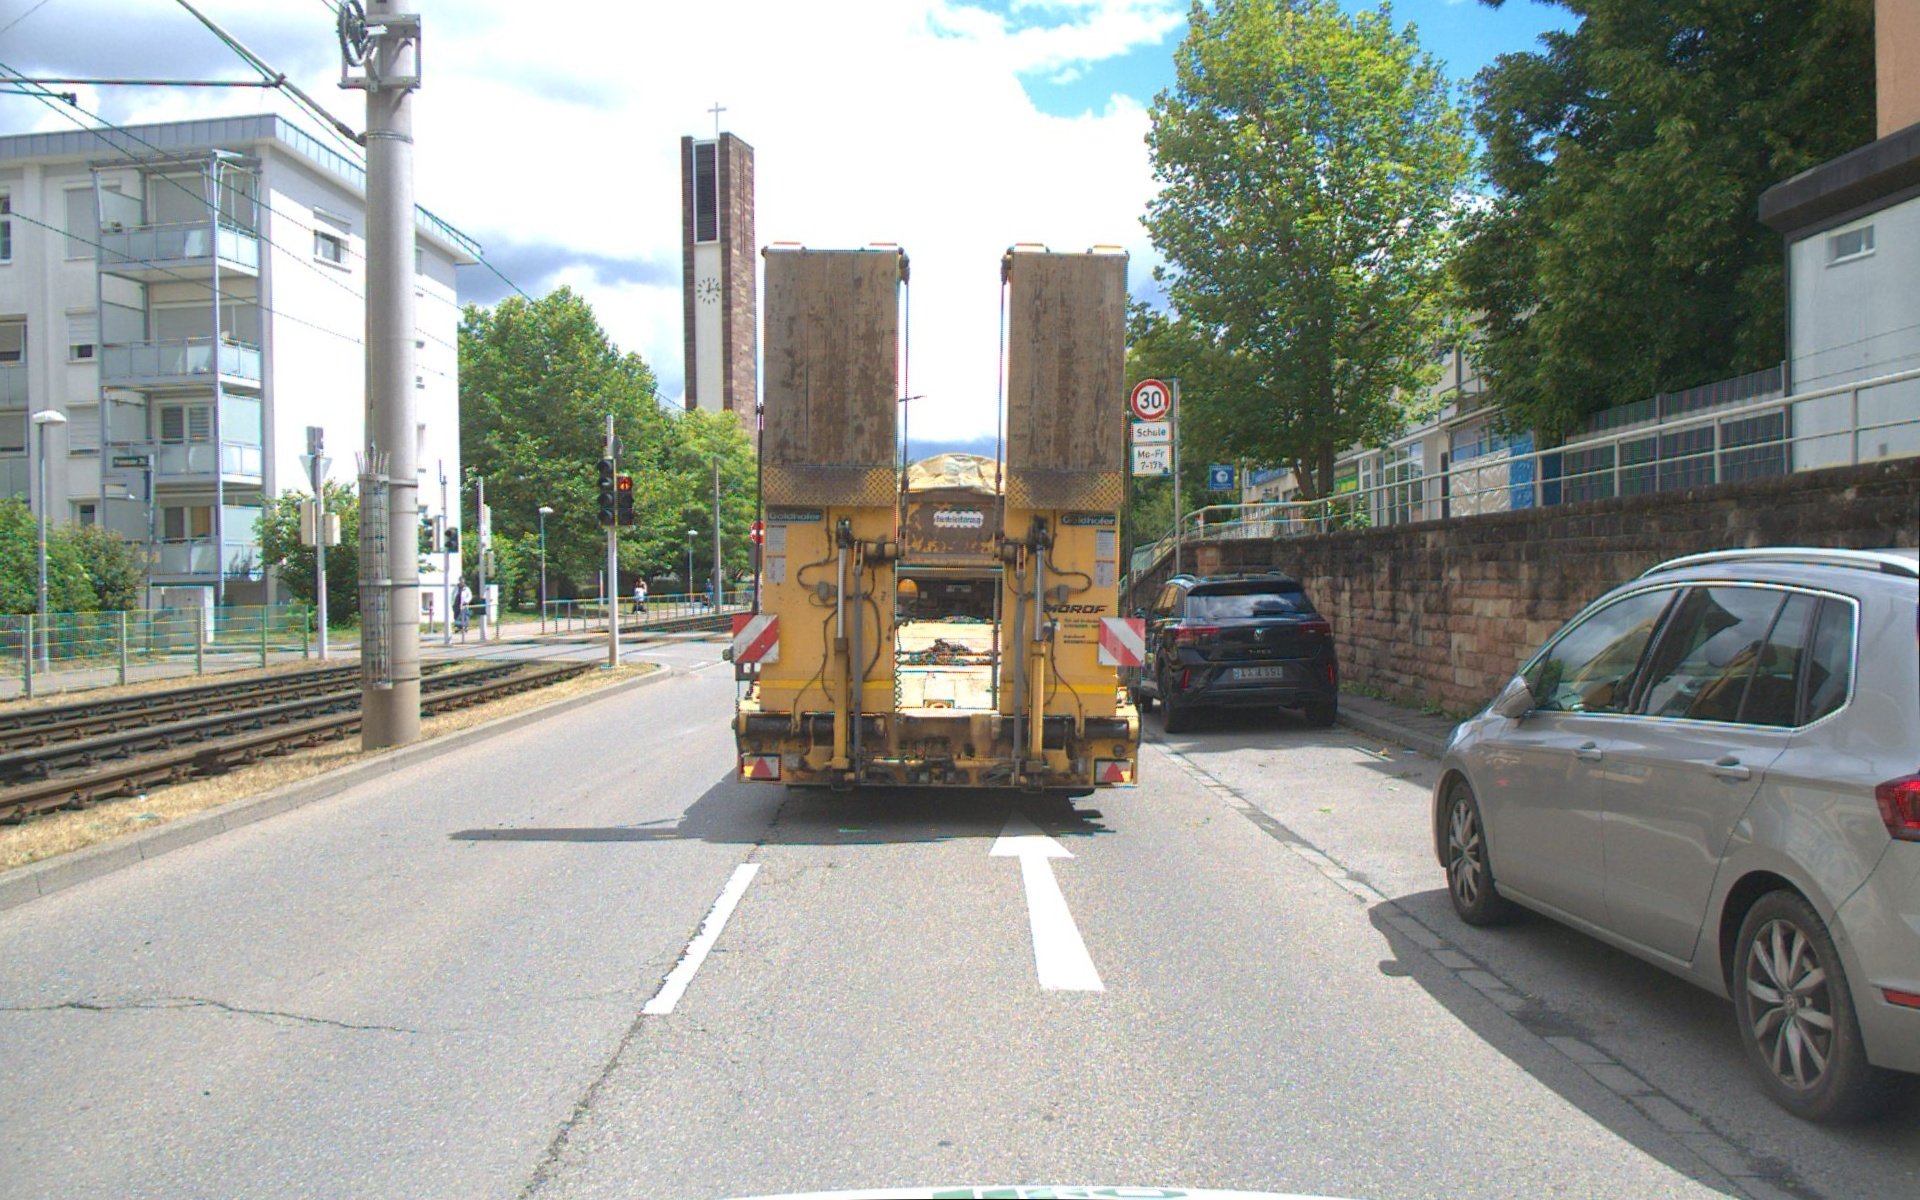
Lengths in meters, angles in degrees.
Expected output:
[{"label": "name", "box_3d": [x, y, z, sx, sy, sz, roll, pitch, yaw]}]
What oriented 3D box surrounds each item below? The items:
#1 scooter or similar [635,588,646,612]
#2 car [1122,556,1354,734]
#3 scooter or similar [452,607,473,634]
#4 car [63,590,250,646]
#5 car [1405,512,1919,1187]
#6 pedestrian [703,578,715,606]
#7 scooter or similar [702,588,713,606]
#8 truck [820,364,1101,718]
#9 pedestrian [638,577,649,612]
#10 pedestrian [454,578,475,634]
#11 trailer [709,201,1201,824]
[{"label": "scooter or similar", "box_3d": [-14.363, -0.015, 74.435, 0.331, 1.076, 0.688, 0, 0, 2]}, {"label": "car", "box_3d": [2.892, 0.417, 18.031, 1.813, 1.668, 4.000, -2, 0, 0]}, {"label": "scooter or similar", "box_3d": [-14.286, 0.598, 47.498, 0.428, 0.760, 0.475, 0, 0, 4]}, {"label": "car", "box_3d": [-20.572, 0.445, 42.438, 3.902, 1.369, 1.903, -1, 0, 7]}, {"label": "car", "box_3d": [3.143, 0.562, 6.034, 1.754, 1.646, 4.247, -2, 1, -2]}, {"label": "pedestrian", "box_3d": [-13.878, -0.429, 91.530, 0.552, 1.540, 0.645, 1, 0, -2]}, {"label": "scooter or similar", "box_3d": [-13.888, -0.153, 90.884, 0.495, 0.988, 0.645, 1, 0, -2]}, {"label": "truck", "box_3d": [-0.001, -0.642, 19.578, 2.882, 3.635, 4.876, -1, 1, 0]}, {"label": "pedestrian", "box_3d": [-14.362, -0.241, 75.099, 0.341, 1.564, 0.557, 0, 0, 3]}, {"label": "pedestrian", "box_3d": [-14.360, 0.164, 47.971, 0.428, 1.608, 0.475, 0, 0, 4]}, {"label": "trailer", "box_3d": [-0.008, -0.573, 14.152, 2.885, 3.664, 8.684, -1, 1, 0]}]
